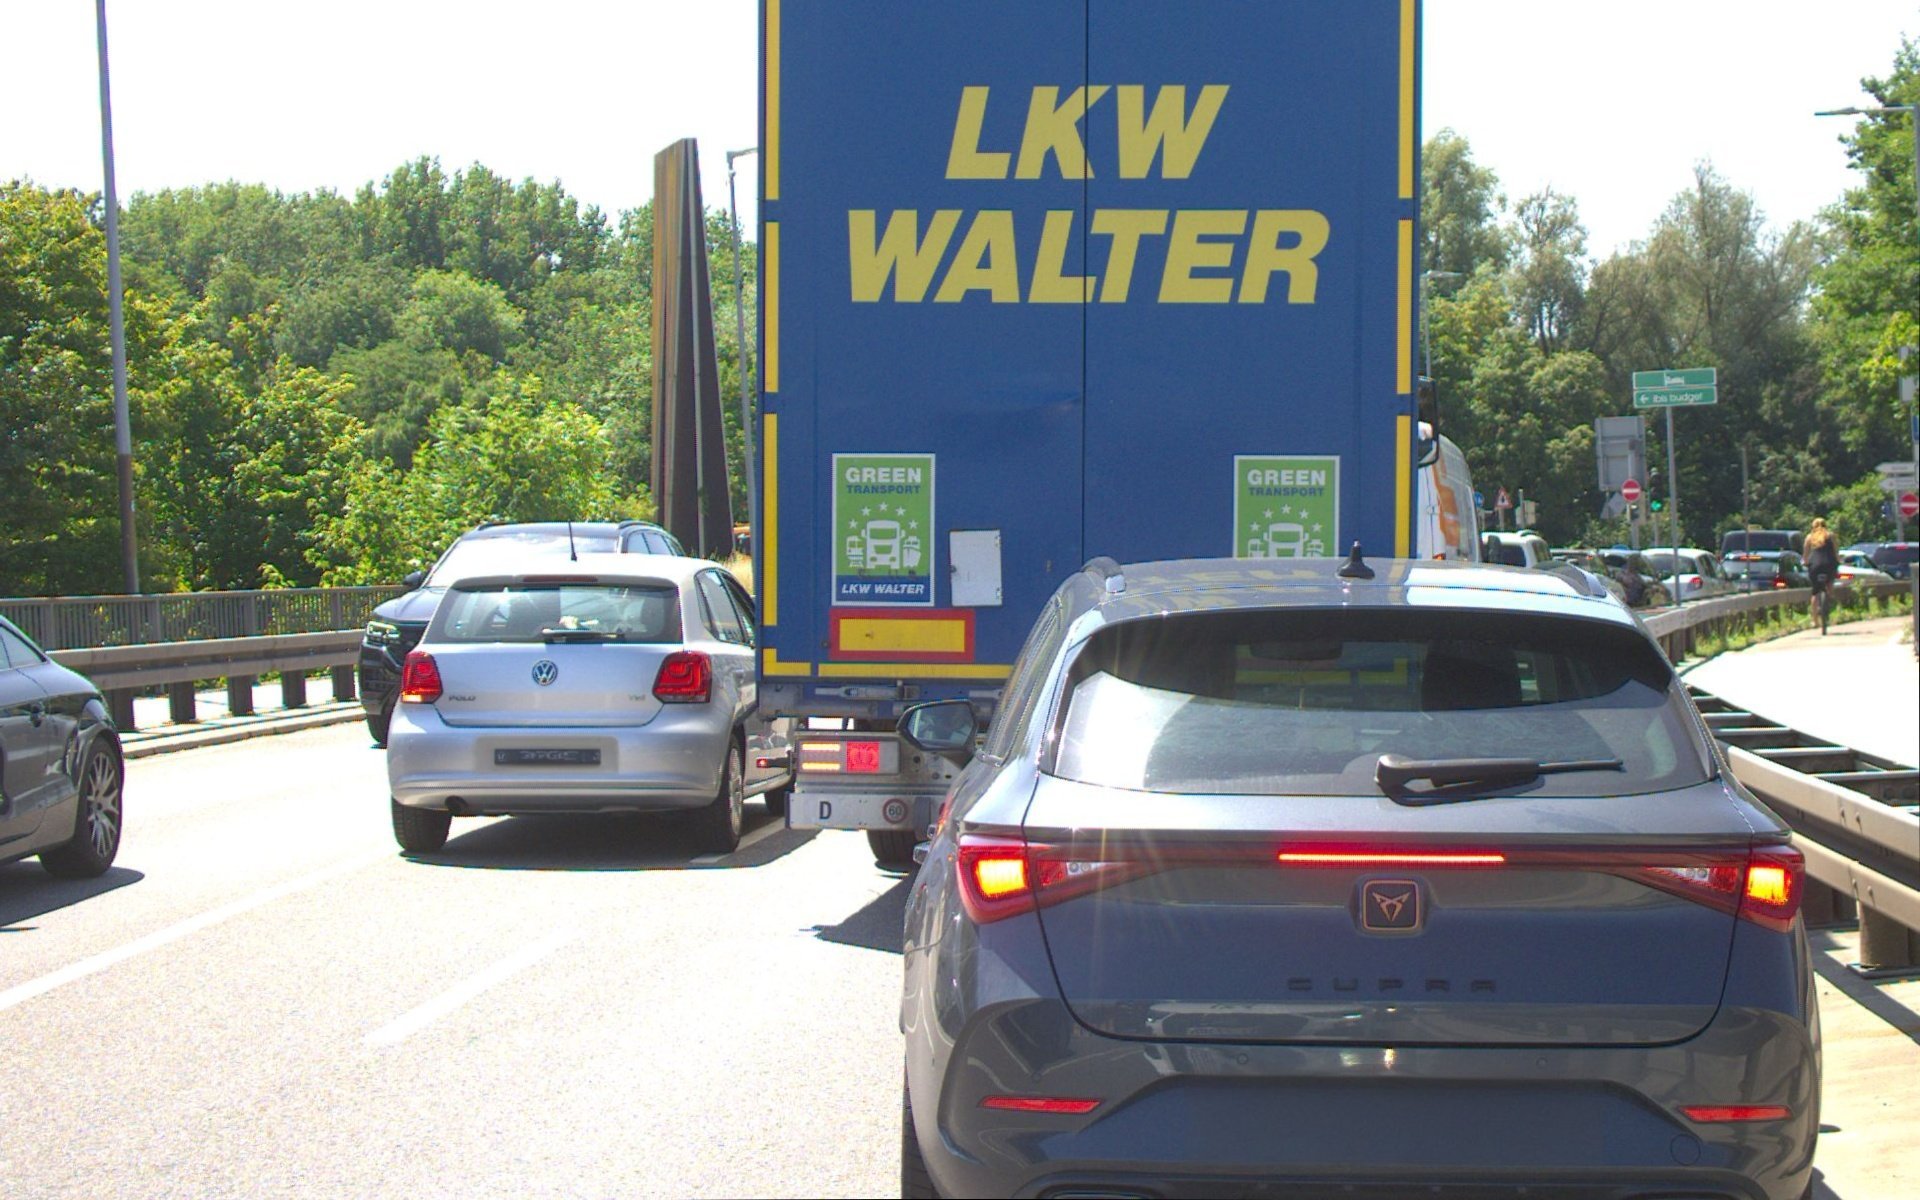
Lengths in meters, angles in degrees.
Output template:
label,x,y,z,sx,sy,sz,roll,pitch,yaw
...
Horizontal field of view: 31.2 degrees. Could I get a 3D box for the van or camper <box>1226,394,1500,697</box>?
label,x,y,z,sx,sy,sz,roll,pitch,yaw
van or camper,4.239,-0.579,35.178,2.155,2.806,6.384,0,1,12

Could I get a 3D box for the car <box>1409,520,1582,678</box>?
label,x,y,z,sx,sy,sz,roll,pitch,yaw
car,6.676,-0.057,42.595,1.722,1.837,3.998,0,2,15

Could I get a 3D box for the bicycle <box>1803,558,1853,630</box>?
label,x,y,z,sx,sy,sz,roll,pitch,yaw
bicycle,13.140,-0.097,52.055,0.582,1.032,1.484,-3,1,10

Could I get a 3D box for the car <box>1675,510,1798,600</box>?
label,x,y,z,sx,sy,sz,roll,pitch,yaw
car,15.751,-0.900,69.605,1.687,1.754,3.995,0,0,24

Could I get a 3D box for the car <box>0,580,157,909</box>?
label,x,y,z,sx,sy,sz,roll,pitch,yaw
car,-4.713,0.597,14.007,1.678,1.304,3.972,0,1,4

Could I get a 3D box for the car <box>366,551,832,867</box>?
label,x,y,z,sx,sy,sz,roll,pitch,yaw
car,-1.751,0.475,17.878,1.677,1.406,3.974,0,1,5

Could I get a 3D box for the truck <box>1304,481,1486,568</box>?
label,x,y,z,sx,sy,sz,roll,pitch,yaw
truck,14.703,-2.550,116.460,5.937,2.864,2.336,1,2,45

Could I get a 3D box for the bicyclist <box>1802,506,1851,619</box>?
label,x,y,z,sx,sy,sz,roll,pitch,yaw
bicyclist,13.115,-0.571,52.046,0.578,1.677,0.729,-3,1,10

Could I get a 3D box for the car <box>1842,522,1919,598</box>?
label,x,y,z,sx,sy,sz,roll,pitch,yaw
car,22.317,-0.944,81.689,1.688,1.754,3.994,0,0,29

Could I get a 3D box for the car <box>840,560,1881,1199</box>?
label,x,y,z,sx,sy,sz,roll,pitch,yaw
car,0.746,0.651,7.550,1.677,1.451,3.958,0,1,3

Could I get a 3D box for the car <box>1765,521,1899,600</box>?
label,x,y,z,sx,sy,sz,roll,pitch,yaw
car,19.241,-0.859,75.777,1.996,1.570,3.994,2,0,27

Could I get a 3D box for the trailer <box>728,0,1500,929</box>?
label,x,y,z,sx,sy,sz,roll,pitch,yaw
trailer,1.264,-1.115,19.160,2.905,4.403,12.430,0,1,6

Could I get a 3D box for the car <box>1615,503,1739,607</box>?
label,x,y,z,sx,sy,sz,roll,pitch,yaw
car,13.149,-0.847,62.937,1.722,1.837,3.996,0,1,19

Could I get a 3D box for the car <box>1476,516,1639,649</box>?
label,x,y,z,sx,sy,sz,roll,pitch,yaw
car,8.512,-0.290,48.767,1.722,1.796,3.997,0,1,18

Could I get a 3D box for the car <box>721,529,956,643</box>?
label,x,y,z,sx,sy,sz,roll,pitch,yaw
car,-1.582,-0.224,46.549,1.712,1.464,4.456,0,1,19

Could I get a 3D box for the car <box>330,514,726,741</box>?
label,x,y,z,sx,sy,sz,roll,pitch,yaw
car,-3.364,0.162,27.739,1.967,1.667,4.612,0,1,9

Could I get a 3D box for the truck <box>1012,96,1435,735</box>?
label,x,y,z,sx,sy,sz,roll,pitch,yaw
truck,2.224,-1.351,27.134,2.905,4.403,6.554,0,1,7
